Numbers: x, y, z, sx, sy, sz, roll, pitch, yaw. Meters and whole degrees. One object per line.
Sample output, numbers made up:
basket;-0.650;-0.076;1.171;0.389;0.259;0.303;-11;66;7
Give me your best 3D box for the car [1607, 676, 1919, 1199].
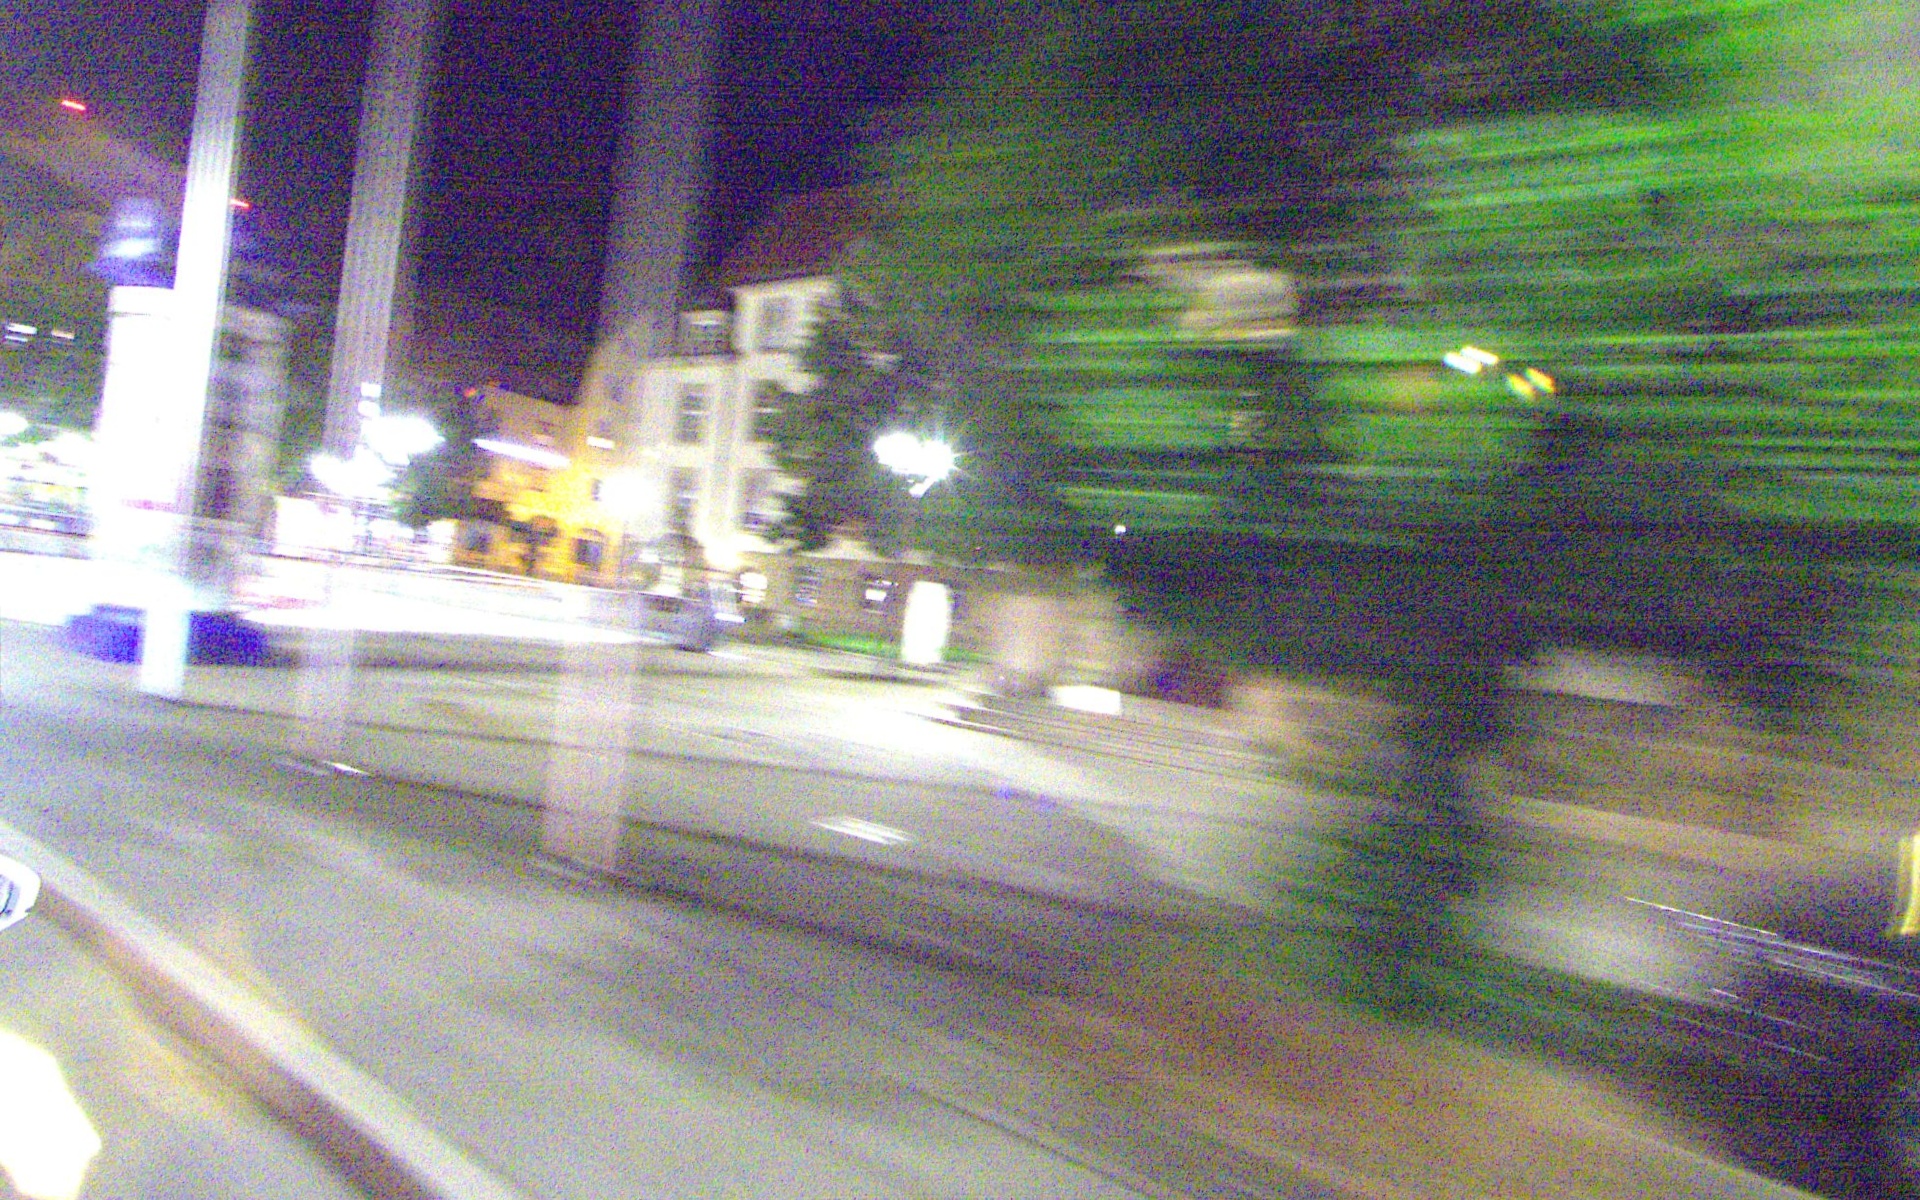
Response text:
car;4.558;1.267;2.607;4.649;1.477;1.736;7;-1;31
